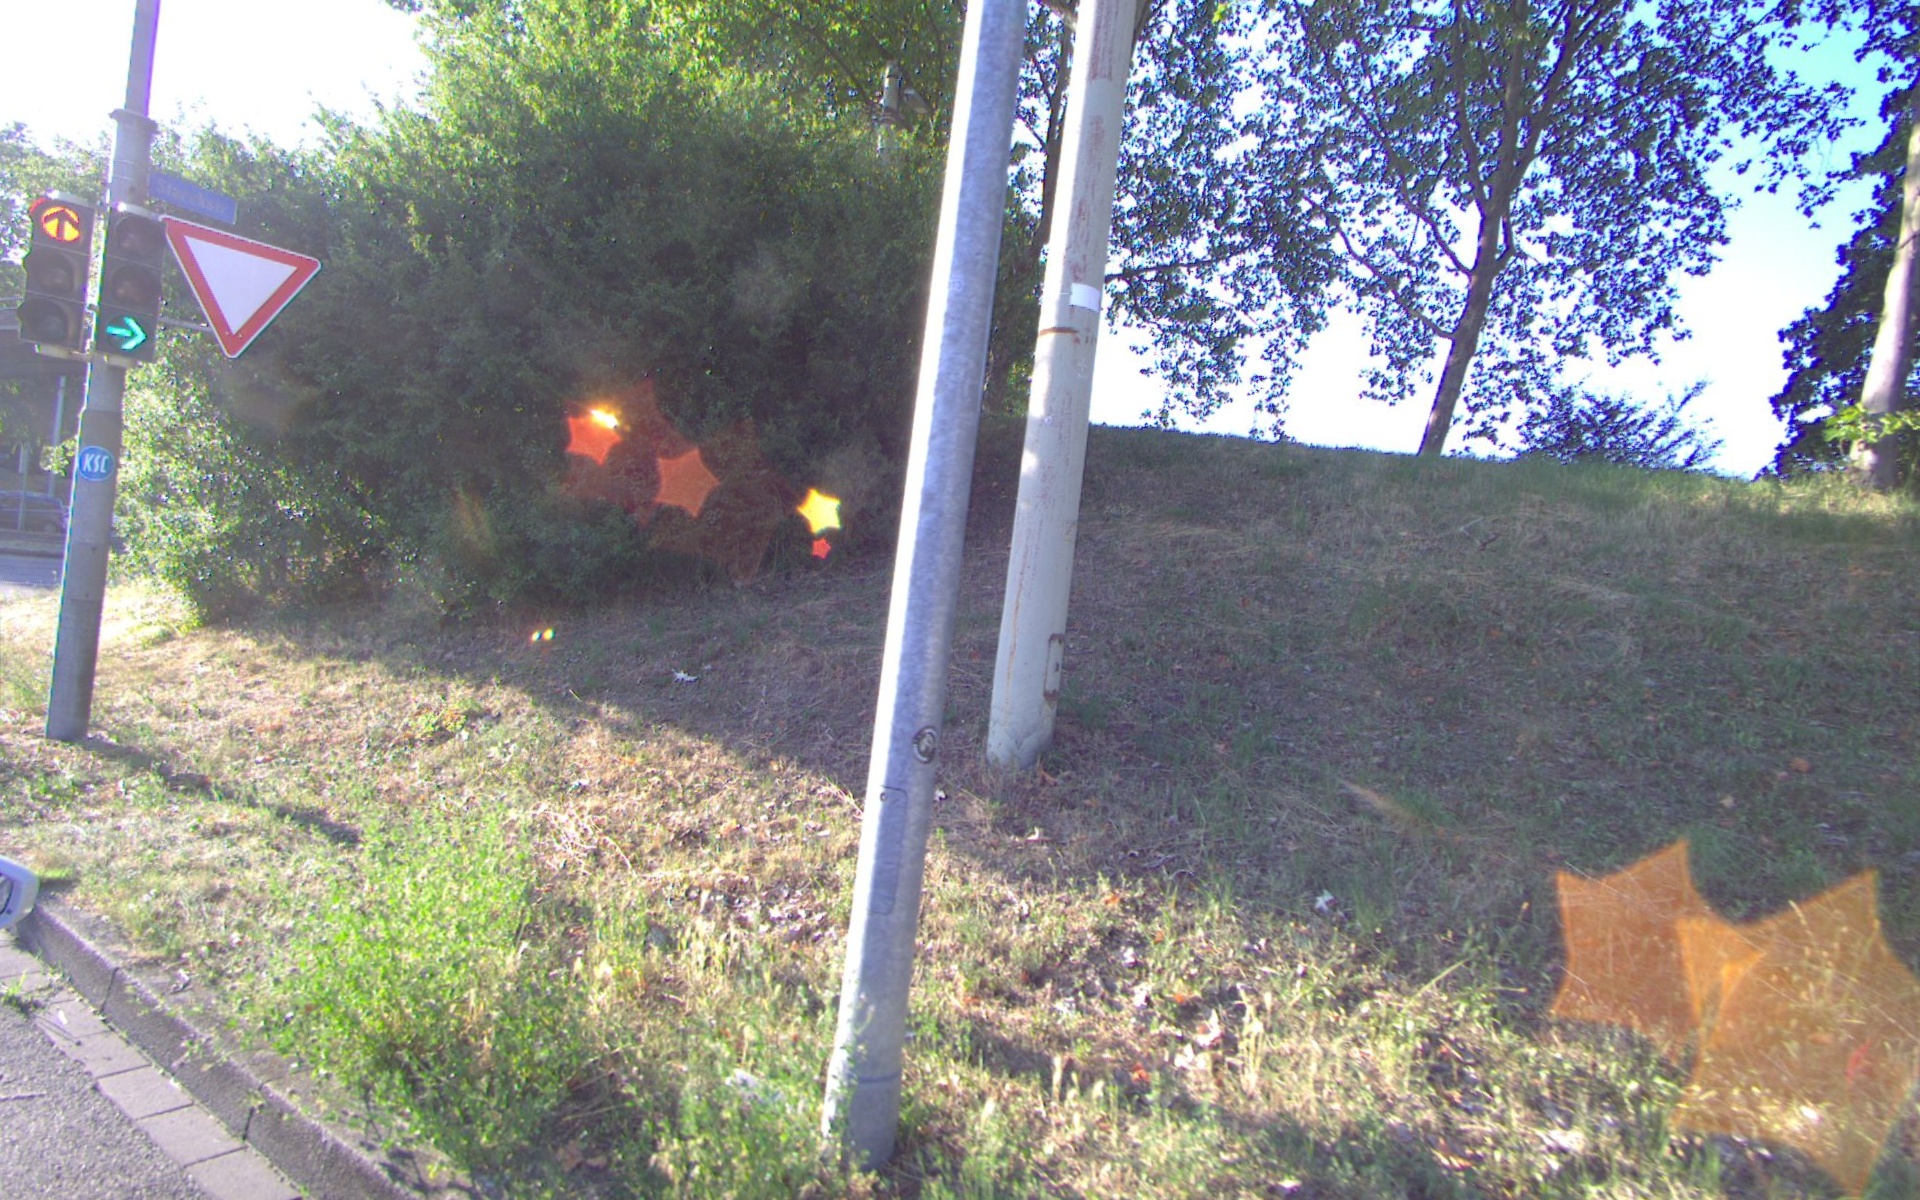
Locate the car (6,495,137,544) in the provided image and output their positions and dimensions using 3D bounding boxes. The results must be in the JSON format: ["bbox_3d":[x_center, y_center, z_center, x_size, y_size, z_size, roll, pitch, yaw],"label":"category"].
[{"bbox_3d":[-42.605,-3.846,48.391,1.821,1.628,4.374,7,-1,13],"label":"car"}]

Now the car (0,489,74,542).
[{"bbox_3d":[-40.058,-3.673,42.024,1.822,1.889,4.149,6,-1,16],"label":"car"}]
